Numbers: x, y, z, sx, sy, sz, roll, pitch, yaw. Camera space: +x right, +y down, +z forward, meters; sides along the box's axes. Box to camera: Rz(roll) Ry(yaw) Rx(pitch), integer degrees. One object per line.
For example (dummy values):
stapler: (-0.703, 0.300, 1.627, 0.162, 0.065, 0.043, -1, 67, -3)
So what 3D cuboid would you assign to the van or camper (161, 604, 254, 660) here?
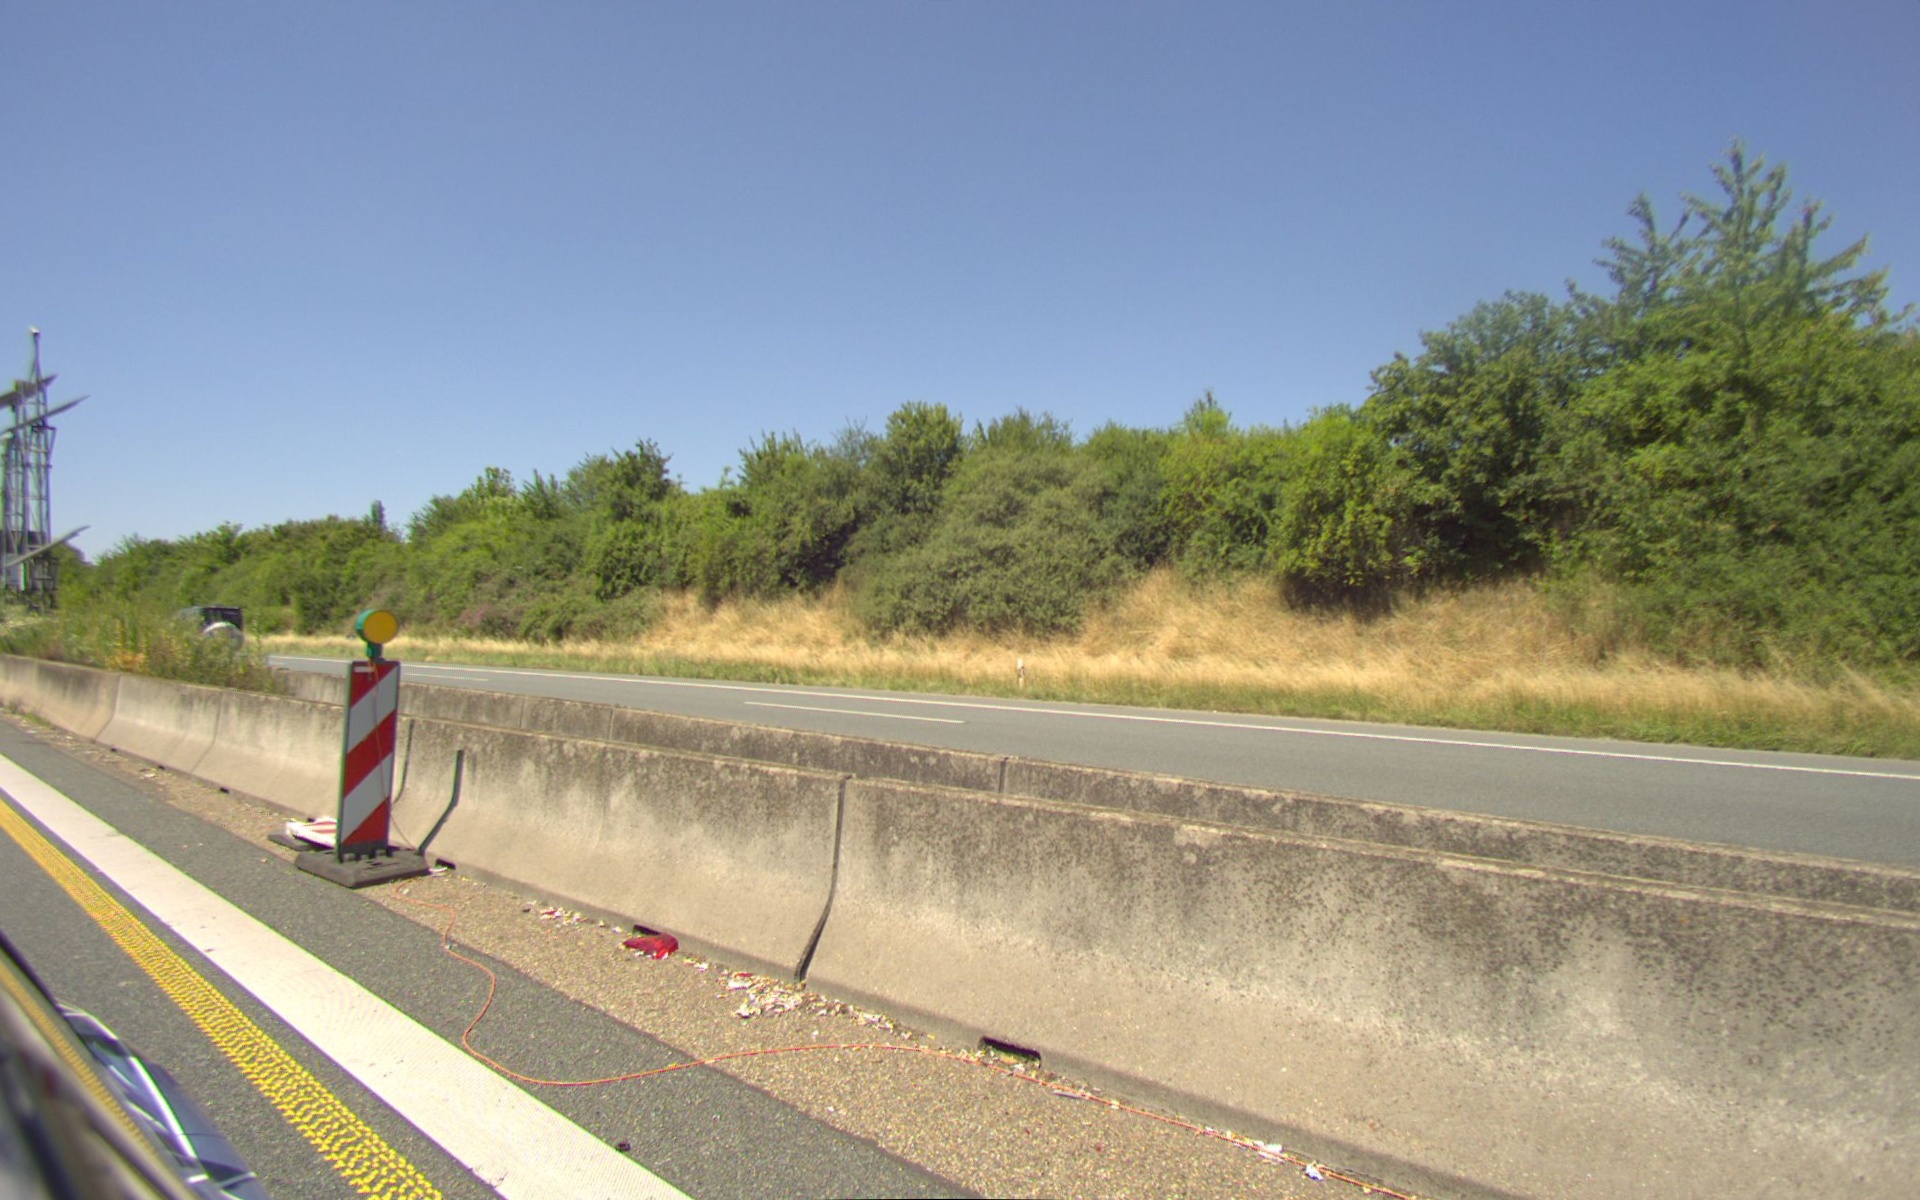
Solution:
van or camper: (-39.853, 1.671, 53.525, 7.074, 2.731, 2.200, -1, -4, 40)
